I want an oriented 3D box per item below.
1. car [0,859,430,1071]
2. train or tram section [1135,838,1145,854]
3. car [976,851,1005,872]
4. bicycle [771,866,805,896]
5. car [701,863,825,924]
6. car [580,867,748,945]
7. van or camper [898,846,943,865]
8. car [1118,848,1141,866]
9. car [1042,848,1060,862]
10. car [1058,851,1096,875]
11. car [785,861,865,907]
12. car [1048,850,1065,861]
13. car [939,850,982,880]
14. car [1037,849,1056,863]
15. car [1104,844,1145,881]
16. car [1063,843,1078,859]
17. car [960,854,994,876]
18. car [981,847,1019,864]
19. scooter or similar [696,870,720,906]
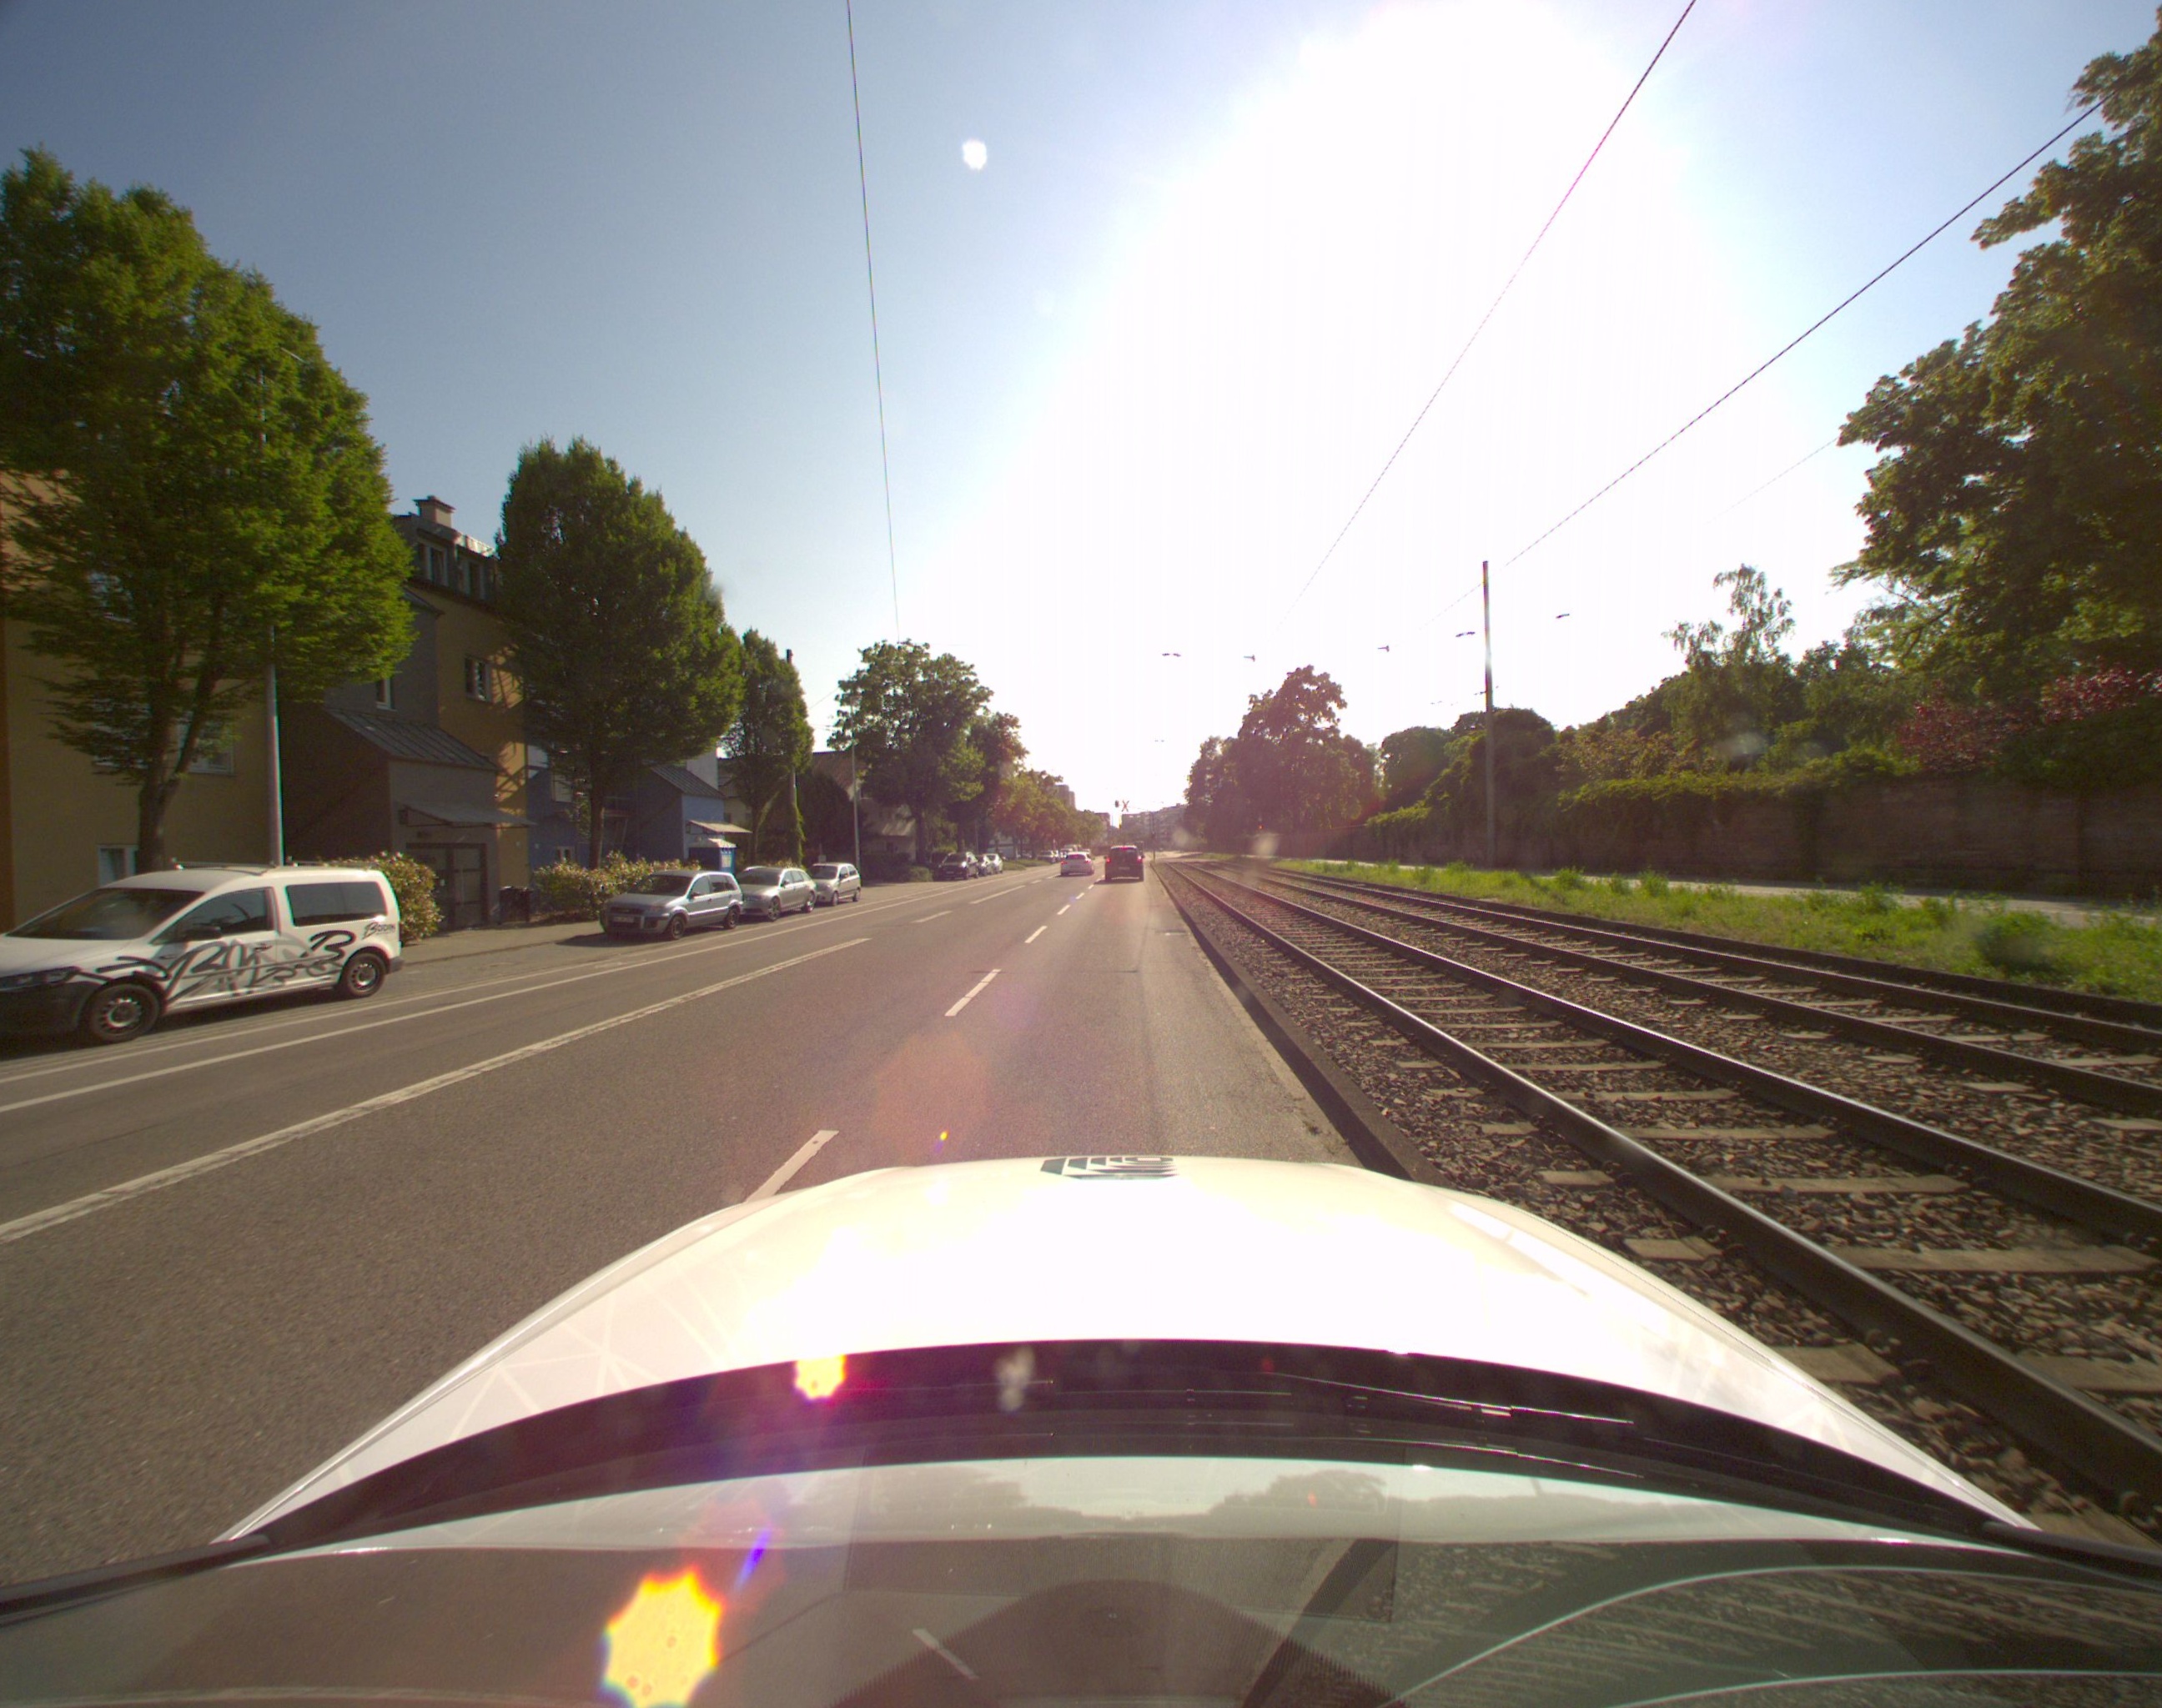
[{"bbox_3d":[-10.803,1.061,9.977,1.756,1.845,4.583,3,1,2],"label":"car"},{"bbox_3d":[14.551,-1.990,201.167,2.316,3.570,8.911,-2,0,5],"label":"train or tram section"},{"bbox_3d":[-6.975,0.565,63.043,1.594,1.550,3.898,0,0,3],"label":"car"},{"bbox_3d":[-12.188,1.112,33.968,0.440,1.154,1.790,-2,0,11],"label":"bicycle"},{"bbox_3d":[-9.539,1.125,24.866,1.742,1.510,4.757,2,1,2],"label":"car"},{"bbox_3d":[-9.967,1.178,19.863,1.755,1.539,3.986,3,1,4],"label":"car"},{"bbox_3d":[-25.519,0.226,129.525,6.433,2.868,2.310,-2,0,5],"label":"van or camper"},{"bbox_3d":[4.054,0.212,67.531,1.803,1.449,4.005,-1,1,4],"label":"car"},{"bbox_3d":[-3.826,0.149,105.945,1.723,1.694,4.007,-2,1,6],"label":"car"},{"bbox_3d":[-0.187,0.504,48.378,1.856,1.348,4.005,-2,0,4],"label":"car"},{"bbox_3d":[-9.374,1.058,30.091,1.594,1.494,3.513,2,1,4],"label":"car"},{"bbox_3d":[-3.369,0.235,112.247,1.723,1.389,3.741,-2,1,6],"label":"car"},{"bbox_3d":[-7.598,0.655,51.703,1.704,1.694,4.428,-2,0,5],"label":"car"},{"bbox_3d":[-4.257,0.246,100.330,1.723,1.657,4.007,-2,0,6],"label":"car"},{"bbox_3d":[2.112,0.379,38.761,1.803,1.644,4.005,-1,0,4],"label":"car"},{"bbox_3d":[-1.642,-0.493,130.067,1.854,2.347,4.993,-2,0,6],"label":"car"},{"bbox_3d":[-7.264,0.749,57.405,1.670,1.468,3.971,-2,0,2],"label":"car"},{"bbox_3d":[-12.302,0.215,123.940,5.351,2.423,2.090,-2,0,4],"label":"car"},{"bbox_3d":[-12.390,1.121,27.083,0.293,1.153,1.043,-2,0,0],"label":"scooter or similar"}]
